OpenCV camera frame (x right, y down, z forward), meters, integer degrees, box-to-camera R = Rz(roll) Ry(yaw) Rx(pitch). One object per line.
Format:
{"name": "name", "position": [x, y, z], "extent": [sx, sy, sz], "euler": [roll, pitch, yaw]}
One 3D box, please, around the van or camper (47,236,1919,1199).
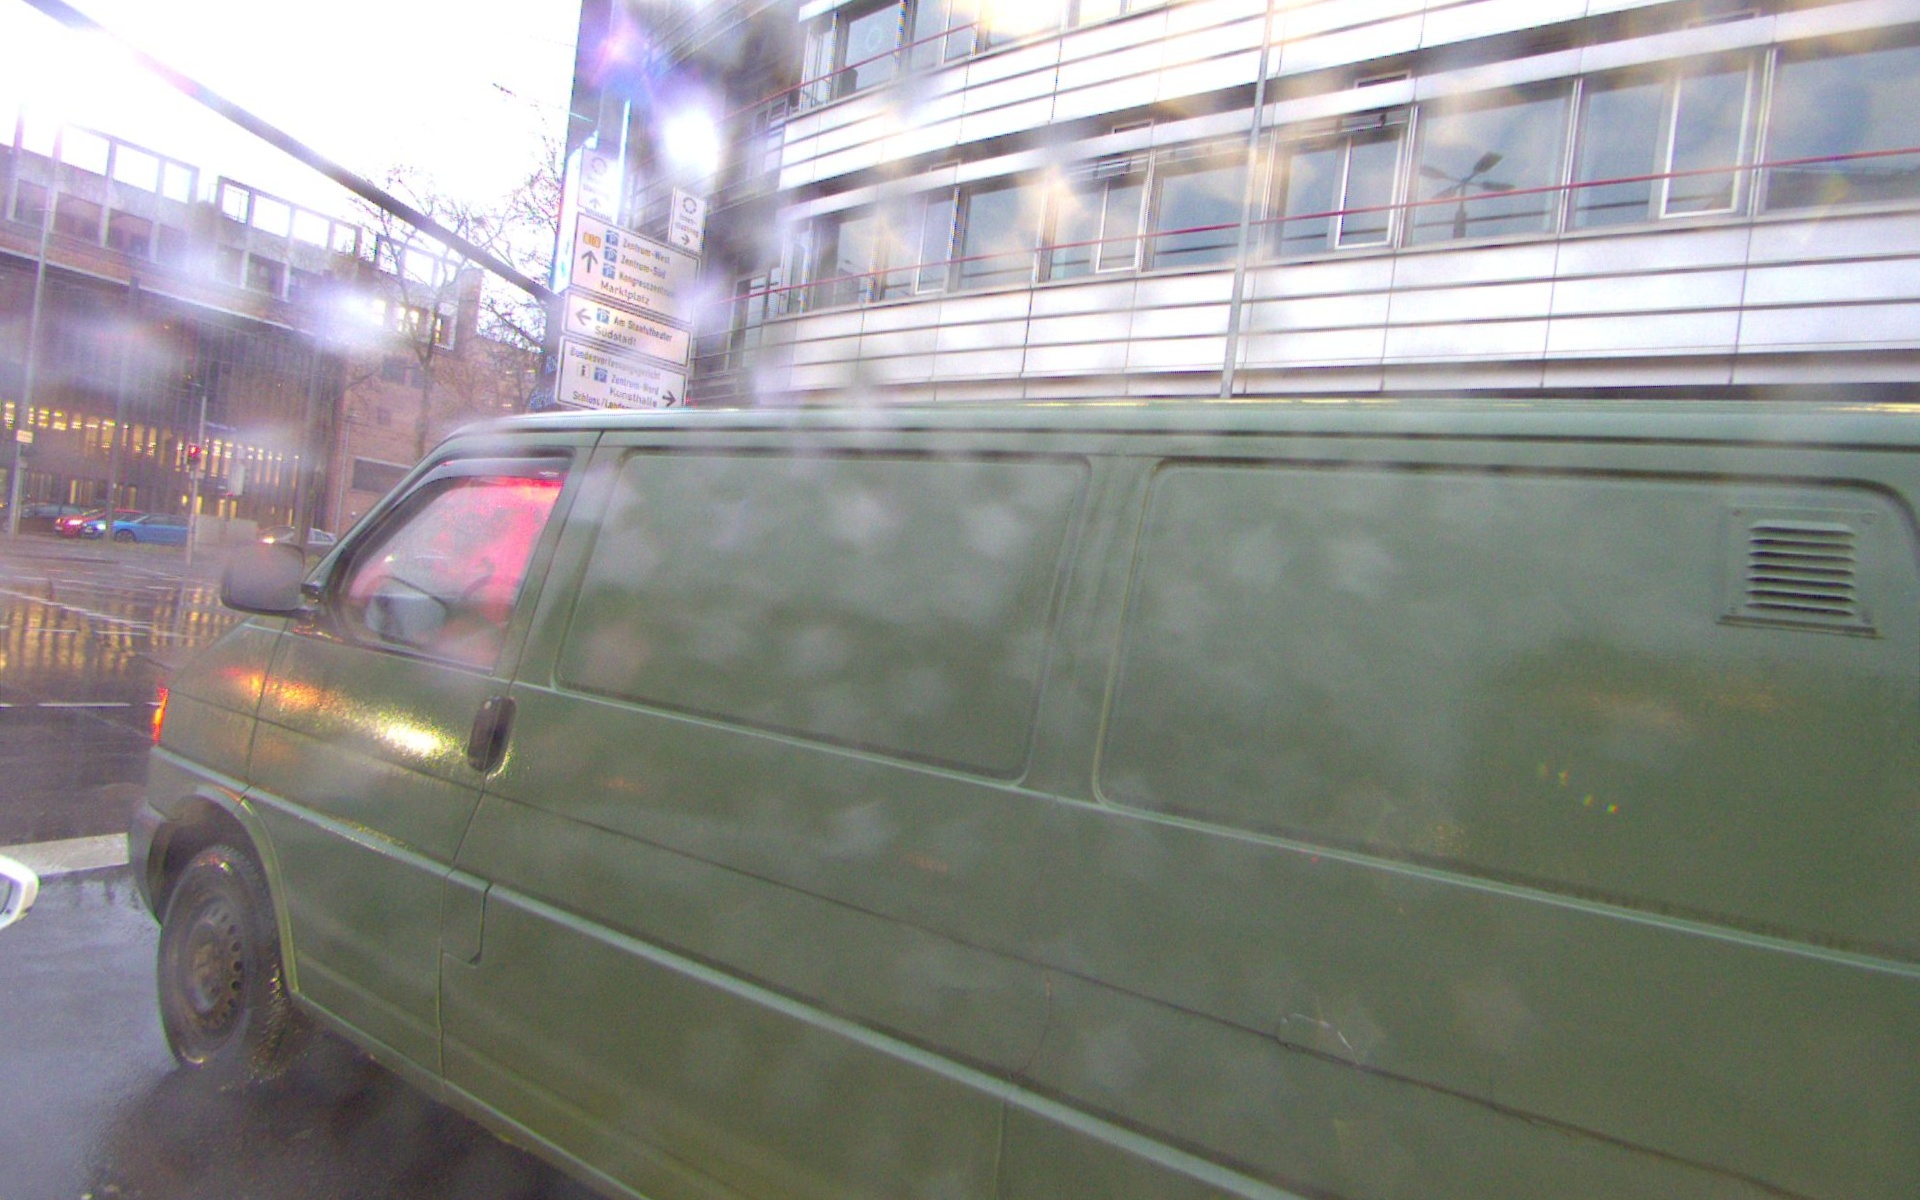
{"name": "van or camper", "position": [-0.326, 0.531, 2.619], "extent": [4.345, 1.929, 1.760], "euler": [7, -1, 32]}

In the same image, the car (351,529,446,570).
{"name": "car", "position": [-30.159, -2.696, 54.126], "extent": [1.814, 1.523, 3.997], "euler": [11, 1, 26]}

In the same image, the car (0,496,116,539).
{"name": "car", "position": [-39.202, -3.563, 43.205], "extent": [1.965, 1.326, 3.994], "euler": [7, 0, 28]}

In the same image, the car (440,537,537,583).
{"name": "car", "position": [-23.554, -1.979, 50.402], "extent": [1.814, 1.621, 3.997], "euler": [11, 1, 26]}

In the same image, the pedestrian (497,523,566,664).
{"name": "pedestrian", "position": [-7.018, -0.097, 16.479], "extent": [0.609, 2.210, 0.576], "euler": [6, 0, 26]}

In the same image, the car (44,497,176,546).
{"name": "car", "position": [-35.474, -3.249, 42.097], "extent": [1.814, 1.278, 3.729], "euler": [11, 1, 26]}

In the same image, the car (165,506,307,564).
{"name": "car", "position": [-28.295, -2.510, 39.436], "extent": [1.814, 1.523, 3.997], "euler": [11, 1, 26]}

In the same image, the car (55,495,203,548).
{"name": "car", "position": [-32.431, -3.033, 39.379], "extent": [1.814, 1.278, 3.997], "euler": [11, 1, 26]}

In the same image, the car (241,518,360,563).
{"name": "car", "position": [-29.627, -2.658, 45.300], "extent": [1.814, 1.304, 3.997], "euler": [11, 1, 26]}
